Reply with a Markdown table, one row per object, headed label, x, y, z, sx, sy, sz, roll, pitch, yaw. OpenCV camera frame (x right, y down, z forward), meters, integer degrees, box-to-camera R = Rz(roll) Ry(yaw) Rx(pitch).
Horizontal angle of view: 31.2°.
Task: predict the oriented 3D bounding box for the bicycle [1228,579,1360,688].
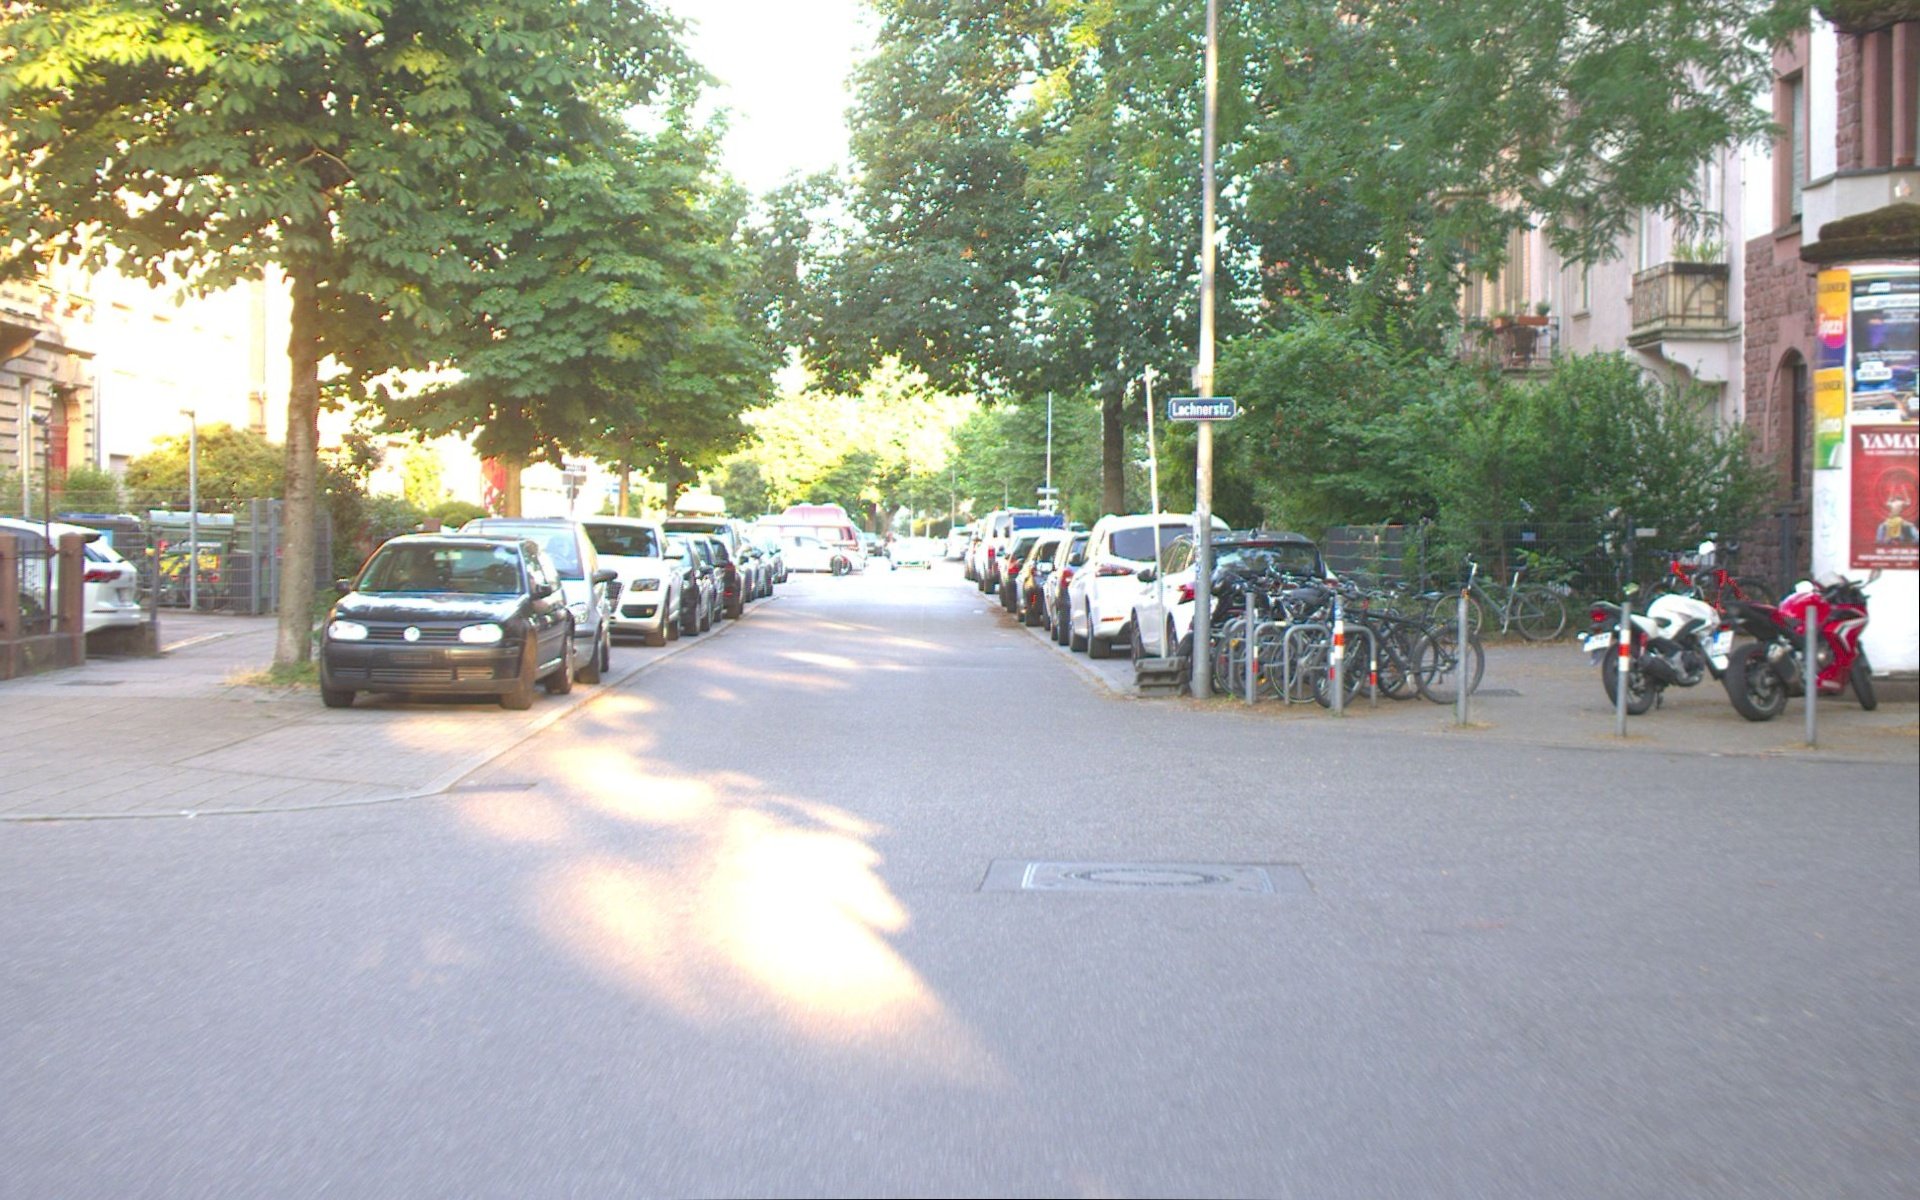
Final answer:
| label | x | y | z | sx | sy | sz | roll | pitch | yaw |
| --- | --- | --- | --- | --- | --- | --- | --- | --- | --- |
| bicycle | 3.060 | 0.299 | 31.492 | 1.224 | 0.948 | 0.330 | -1 | 3 | -28 |

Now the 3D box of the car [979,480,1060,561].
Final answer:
| label | x | y | z | sx | sy | sz | roll | pitch | yaw |
| --- | --- | --- | --- | --- | --- | --- | --- | --- | --- |
| car | 1.441 | -1.939 | 84.301 | 1.680 | 1.934 | 3.881 | 1 | 1 | -3 |

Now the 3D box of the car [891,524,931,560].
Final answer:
| label | x | y | z | sx | sy | sz | roll | pitch | yaw |
| --- | --- | --- | --- | --- | --- | --- | --- | --- | --- |
| car | -2.282 | -2.695 | 159.431 | 1.813 | 1.590 | 3.483 | 1 | 2 | -1 |

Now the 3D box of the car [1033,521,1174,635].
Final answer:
| label | x | y | z | sx | sy | sz | roll | pitch | yaw |
| --- | --- | --- | --- | --- | --- | --- | --- | --- | --- |
| car | 2.077 | -0.346 | 50.598 | 1.686 | 1.600 | 3.749 | 1 | 1 | -3 |

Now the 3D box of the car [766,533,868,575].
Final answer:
| label | x | y | z | sx | sy | sz | roll | pitch | yaw |
| --- | --- | --- | --- | --- | --- | --- | --- | --- | --- |
| car | -5.176 | -1.662 | 124.035 | 3.618 | 1.456 | 1.607 | 1 | 2 | -4 |

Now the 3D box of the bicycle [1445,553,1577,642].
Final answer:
| label | x | y | z | sx | sy | sz | roll | pitch | yaw |
| --- | --- | --- | --- | --- | --- | --- | --- | --- | --- |
| bicycle | 6.568 | -0.030 | 41.016 | 1.509 | 1.030 | 0.330 | -1 | 2 | -2 |

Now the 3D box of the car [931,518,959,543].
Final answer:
| label | x | y | z | sx | sy | sz | roll | pitch | yaw |
| --- | --- | --- | --- | --- | --- | --- | --- | --- | --- |
| car | -0.990 | -4.534 | 223.654 | 1.715 | 1.590 | 3.483 | 1 | 2 | -1 |

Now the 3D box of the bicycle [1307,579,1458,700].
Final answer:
| label | x | y | z | sx | sy | sz | roll | pitch | yaw |
| --- | --- | --- | --- | --- | --- | --- | --- | --- | --- |
| bicycle | 3.592 | 0.331 | 29.229 | 1.224 | 0.984 | 0.330 | -1 | 2 | -4 |

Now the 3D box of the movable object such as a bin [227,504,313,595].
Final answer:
| label | x | y | z | sx | sy | sz | roll | pitch | yaw |
| --- | --- | --- | --- | --- | --- | --- | --- | --- | --- |
| movable object such as a bin | -10.535 | -0.776 | 52.489 | 1.013 | 1.316 | 1.005 | 3 | 2 | 4 |

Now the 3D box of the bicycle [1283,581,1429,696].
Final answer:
| label | x | y | z | sx | sy | sz | roll | pitch | yaw |
| --- | --- | --- | --- | --- | --- | --- | --- | --- | --- |
| bicycle | 3.431 | 0.325 | 29.788 | 1.223 | 0.960 | 0.330 | -1 | 2 | -17 |

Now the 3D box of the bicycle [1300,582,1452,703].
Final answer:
| label | x | y | z | sx | sy | sz | roll | pitch | yaw |
| --- | --- | --- | --- | --- | --- | --- | --- | --- | --- |
| bicycle | 3.490 | 0.353 | 28.869 | 1.224 | 0.983 | 0.330 | -1 | 2 | -2 |

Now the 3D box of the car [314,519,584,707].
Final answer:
| label | x | y | z | sx | sy | sz | roll | pitch | yaw |
| --- | --- | --- | --- | --- | --- | --- | --- | --- | --- |
| car | -4.321 | 0.058 | 29.594 | 1.616 | 1.465 | 3.961 | 1 | 2 | 2 |

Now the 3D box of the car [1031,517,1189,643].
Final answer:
| label | x | y | z | sx | sy | sz | roll | pitch | yaw |
| --- | --- | --- | --- | --- | --- | --- | --- | --- | --- |
| car | 1.969 | -0.295 | 46.292 | 1.686 | 1.600 | 4.210 | 1 | 1 | -3 |

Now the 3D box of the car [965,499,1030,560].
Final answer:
| label | x | y | z | sx | sy | sz | roll | pitch | yaw |
| --- | --- | --- | --- | --- | --- | --- | --- | --- | --- |
| car | 1.129 | -2.137 | 104.940 | 1.686 | 1.805 | 3.940 | 1 | 1 | -3 |

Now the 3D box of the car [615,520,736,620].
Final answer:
| label | x | y | z | sx | sy | sz | roll | pitch | yaw |
| --- | --- | --- | --- | --- | --- | --- | --- | --- | --- |
| car | -4.649 | -0.521 | 56.545 | 1.715 | 1.561 | 3.788 | 1 | 2 | -1 |

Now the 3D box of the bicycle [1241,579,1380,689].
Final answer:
| label | x | y | z | sx | sy | sz | roll | pitch | yaw |
| --- | --- | --- | --- | --- | --- | --- | --- | --- | --- |
| bicycle | 3.151 | 0.301 | 30.879 | 1.224 | 0.944 | 0.330 | -1 | 3 | -23 |

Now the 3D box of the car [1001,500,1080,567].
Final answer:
| label | x | y | z | sx | sy | sz | roll | pitch | yaw |
| --- | --- | --- | --- | --- | --- | --- | --- | --- | --- |
| car | 1.869 | -1.560 | 80.416 | 1.538 | 1.516 | 3.432 | 1 | 1 | -3 |

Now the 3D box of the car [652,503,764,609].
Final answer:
| label | x | y | z | sx | sy | sz | roll | pitch | yaw |
| --- | --- | --- | --- | --- | --- | --- | --- | --- | --- |
| car | -4.438 | -0.814 | 60.997 | 1.715 | 1.784 | 4.216 | 1 | 2 | -1 |

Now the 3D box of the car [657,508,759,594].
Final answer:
| label | x | y | z | sx | sy | sz | roll | pitch | yaw |
| --- | --- | --- | --- | --- | --- | --- | --- | --- | --- |
| car | -4.848 | -0.965 | 66.624 | 1.715 | 1.590 | 4.519 | 1 | 1 | -1 |

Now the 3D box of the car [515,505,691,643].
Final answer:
| label | x | y | z | sx | sy | sz | roll | pitch | yaw |
| --- | --- | --- | --- | --- | --- | --- | --- | --- | --- |
| car | -4.682 | -0.392 | 45.639 | 1.921 | 1.711 | 4.428 | 1 | 2 | -1 |

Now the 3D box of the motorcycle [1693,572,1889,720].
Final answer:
| label | x | y | z | sx | sy | sz | roll | pitch | yaw |
| --- | --- | --- | --- | --- | --- | --- | --- | --- | --- |
| motorcycle | 6.638 | 0.347 | 27.397 | 0.437 | 1.076 | 2.207 | 2 | 3 | 44 |

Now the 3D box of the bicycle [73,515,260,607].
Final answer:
| label | x | y | z | sx | sy | sz | roll | pitch | yaw |
| --- | --- | --- | --- | --- | --- | --- | --- | --- | --- |
| bicycle | -11.550 | -0.574 | 50.038 | 2.529 | 1.188 | 0.643 | 3 | 2 | 5 |

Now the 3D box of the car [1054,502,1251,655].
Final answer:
| label | x | y | z | sx | sy | sz | roll | pitch | yaw |
| --- | --- | --- | --- | --- | --- | --- | --- | --- | --- |
| car | 2.214 | -0.278 | 40.658 | 1.798 | 1.705 | 4.602 | 0 | 1 | -3 |

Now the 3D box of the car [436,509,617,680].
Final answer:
| label | x | y | z | sx | sy | sz | roll | pitch | yaw |
| --- | --- | --- | --- | --- | --- | --- | --- | --- | --- |
| car | -4.304 | -0.103 | 34.505 | 1.595 | 1.598 | 3.745 | 1 | 2 | -4 |

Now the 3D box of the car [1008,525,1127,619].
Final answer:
| label | x | y | z | sx | sy | sz | roll | pitch | yaw |
| --- | --- | --- | --- | --- | --- | --- | --- | --- | --- |
| car | 1.721 | -0.475 | 56.006 | 1.686 | 1.436 | 4.210 | -2 | 1 | -1 |

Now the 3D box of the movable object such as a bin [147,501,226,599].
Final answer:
| label | x | y | z | sx | sy | sz | roll | pitch | yaw |
| --- | --- | --- | --- | --- | --- | --- | --- | --- | --- |
| movable object such as a bin | -11.772 | -0.769 | 52.313 | 1.096 | 1.409 | 1.005 | 2 | 2 | -15 |

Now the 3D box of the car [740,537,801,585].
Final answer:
| label | x | y | z | sx | sy | sz | roll | pitch | yaw |
| --- | --- | --- | --- | --- | --- | --- | --- | --- | --- |
| car | -6.028 | -1.256 | 109.621 | 1.716 | 1.436 | 3.631 | 1 | 2 | 0 |

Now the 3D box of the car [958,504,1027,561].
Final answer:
| label | x | y | z | sx | sy | sz | roll | pitch | yaw |
| --- | --- | --- | --- | --- | --- | --- | --- | --- | --- |
| car | 0.920 | -1.925 | 98.300 | 1.686 | 1.600 | 3.940 | 1 | 1 | -3 |

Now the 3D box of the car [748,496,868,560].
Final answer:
| label | x | y | z | sx | sy | sz | roll | pitch | yaw |
| --- | --- | --- | --- | --- | --- | --- | --- | --- | --- |
| car | -5.603 | -2.663 | 126.655 | 4.349 | 2.310 | 1.746 | 1 | 1 | -2 |

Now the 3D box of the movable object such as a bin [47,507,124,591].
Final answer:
| label | x | y | z | sx | sy | sz | roll | pitch | yaw |
| --- | --- | --- | --- | --- | --- | --- | --- | --- | --- |
| movable object such as a bin | -13.367 | -0.780 | 52.551 | 1.096 | 1.205 | 1.005 | 2 | 2 | -15 |

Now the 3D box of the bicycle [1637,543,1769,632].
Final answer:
| label | x | y | z | sx | sy | sz | roll | pitch | yaw |
| --- | --- | --- | --- | --- | --- | --- | --- | --- | --- |
| bicycle | 8.898 | -0.151 | 41.168 | 1.509 | 1.030 | 0.330 | -1 | 2 | -2 |

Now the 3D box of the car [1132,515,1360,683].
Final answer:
| label | x | y | z | sx | sy | sz | roll | pitch | yaw |
| --- | --- | --- | --- | --- | --- | --- | --- | --- | --- |
| car | 2.821 | -0.051 | 34.667 | 1.686 | 1.586 | 3.659 | 0 | 2 | -5 |

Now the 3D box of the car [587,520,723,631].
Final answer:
| label | x | y | z | sx | sy | sz | roll | pitch | yaw |
| --- | --- | --- | --- | --- | --- | --- | --- | --- | --- |
| car | -4.478 | -0.366 | 50.942 | 1.715 | 1.561 | 3.781 | 1 | 1 | -1 |

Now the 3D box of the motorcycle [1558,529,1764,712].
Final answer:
| label | x | y | z | sx | sy | sz | roll | pitch | yaw |
| --- | --- | --- | --- | --- | --- | --- | --- | --- | --- |
| motorcycle | 5.792 | 0.144 | 28.327 | 0.585 | 1.403 | 2.207 | 2 | 3 | 43 |

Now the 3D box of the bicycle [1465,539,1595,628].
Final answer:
| label | x | y | z | sx | sy | sz | roll | pitch | yaw |
| --- | --- | --- | --- | --- | --- | --- | --- | --- | --- |
| bicycle | 6.867 | -0.204 | 41.430 | 1.509 | 1.030 | 0.330 | -1 | 2 | -2 |

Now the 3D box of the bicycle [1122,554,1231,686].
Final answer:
| label | x | y | z | sx | sy | sz | roll | pitch | yaw |
| --- | --- | --- | --- | --- | --- | --- | --- | --- | --- |
| bicycle | 2.003 | 0.169 | 31.702 | 0.444 | 1.169 | 1.634 | 1 | 1 | 24 |

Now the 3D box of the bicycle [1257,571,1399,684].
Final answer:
| label | x | y | z | sx | sy | sz | roll | pitch | yaw |
| --- | --- | --- | --- | --- | --- | --- | --- | --- | --- |
| bicycle | 3.233 | 0.238 | 30.177 | 1.224 | 0.954 | 0.330 | -1 | 3 | -23 |

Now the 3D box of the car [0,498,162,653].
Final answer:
| label | x | y | z | sx | sy | sz | roll | pitch | yaw |
| --- | --- | --- | --- | --- | --- | --- | --- | --- | --- |
| car | -10.768 | -0.351 | 36.590 | 4.092 | 1.522 | 1.709 | 3 | 1 | -2 |

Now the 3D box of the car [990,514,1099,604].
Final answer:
| label | x | y | z | sx | sy | sz | roll | pitch | yaw |
| --- | --- | --- | --- | --- | --- | --- | --- | --- | --- |
| car | 1.542 | -0.779 | 64.091 | 1.686 | 1.600 | 3.940 | 1 | 1 | -3 |

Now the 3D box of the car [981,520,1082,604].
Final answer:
| label | x | y | z | sx | sy | sz | roll | pitch | yaw |
| --- | --- | --- | --- | --- | --- | --- | --- | --- | --- |
| car | 1.394 | -0.770 | 68.338 | 1.686 | 1.600 | 3.940 | 1 | 1 | -3 |
